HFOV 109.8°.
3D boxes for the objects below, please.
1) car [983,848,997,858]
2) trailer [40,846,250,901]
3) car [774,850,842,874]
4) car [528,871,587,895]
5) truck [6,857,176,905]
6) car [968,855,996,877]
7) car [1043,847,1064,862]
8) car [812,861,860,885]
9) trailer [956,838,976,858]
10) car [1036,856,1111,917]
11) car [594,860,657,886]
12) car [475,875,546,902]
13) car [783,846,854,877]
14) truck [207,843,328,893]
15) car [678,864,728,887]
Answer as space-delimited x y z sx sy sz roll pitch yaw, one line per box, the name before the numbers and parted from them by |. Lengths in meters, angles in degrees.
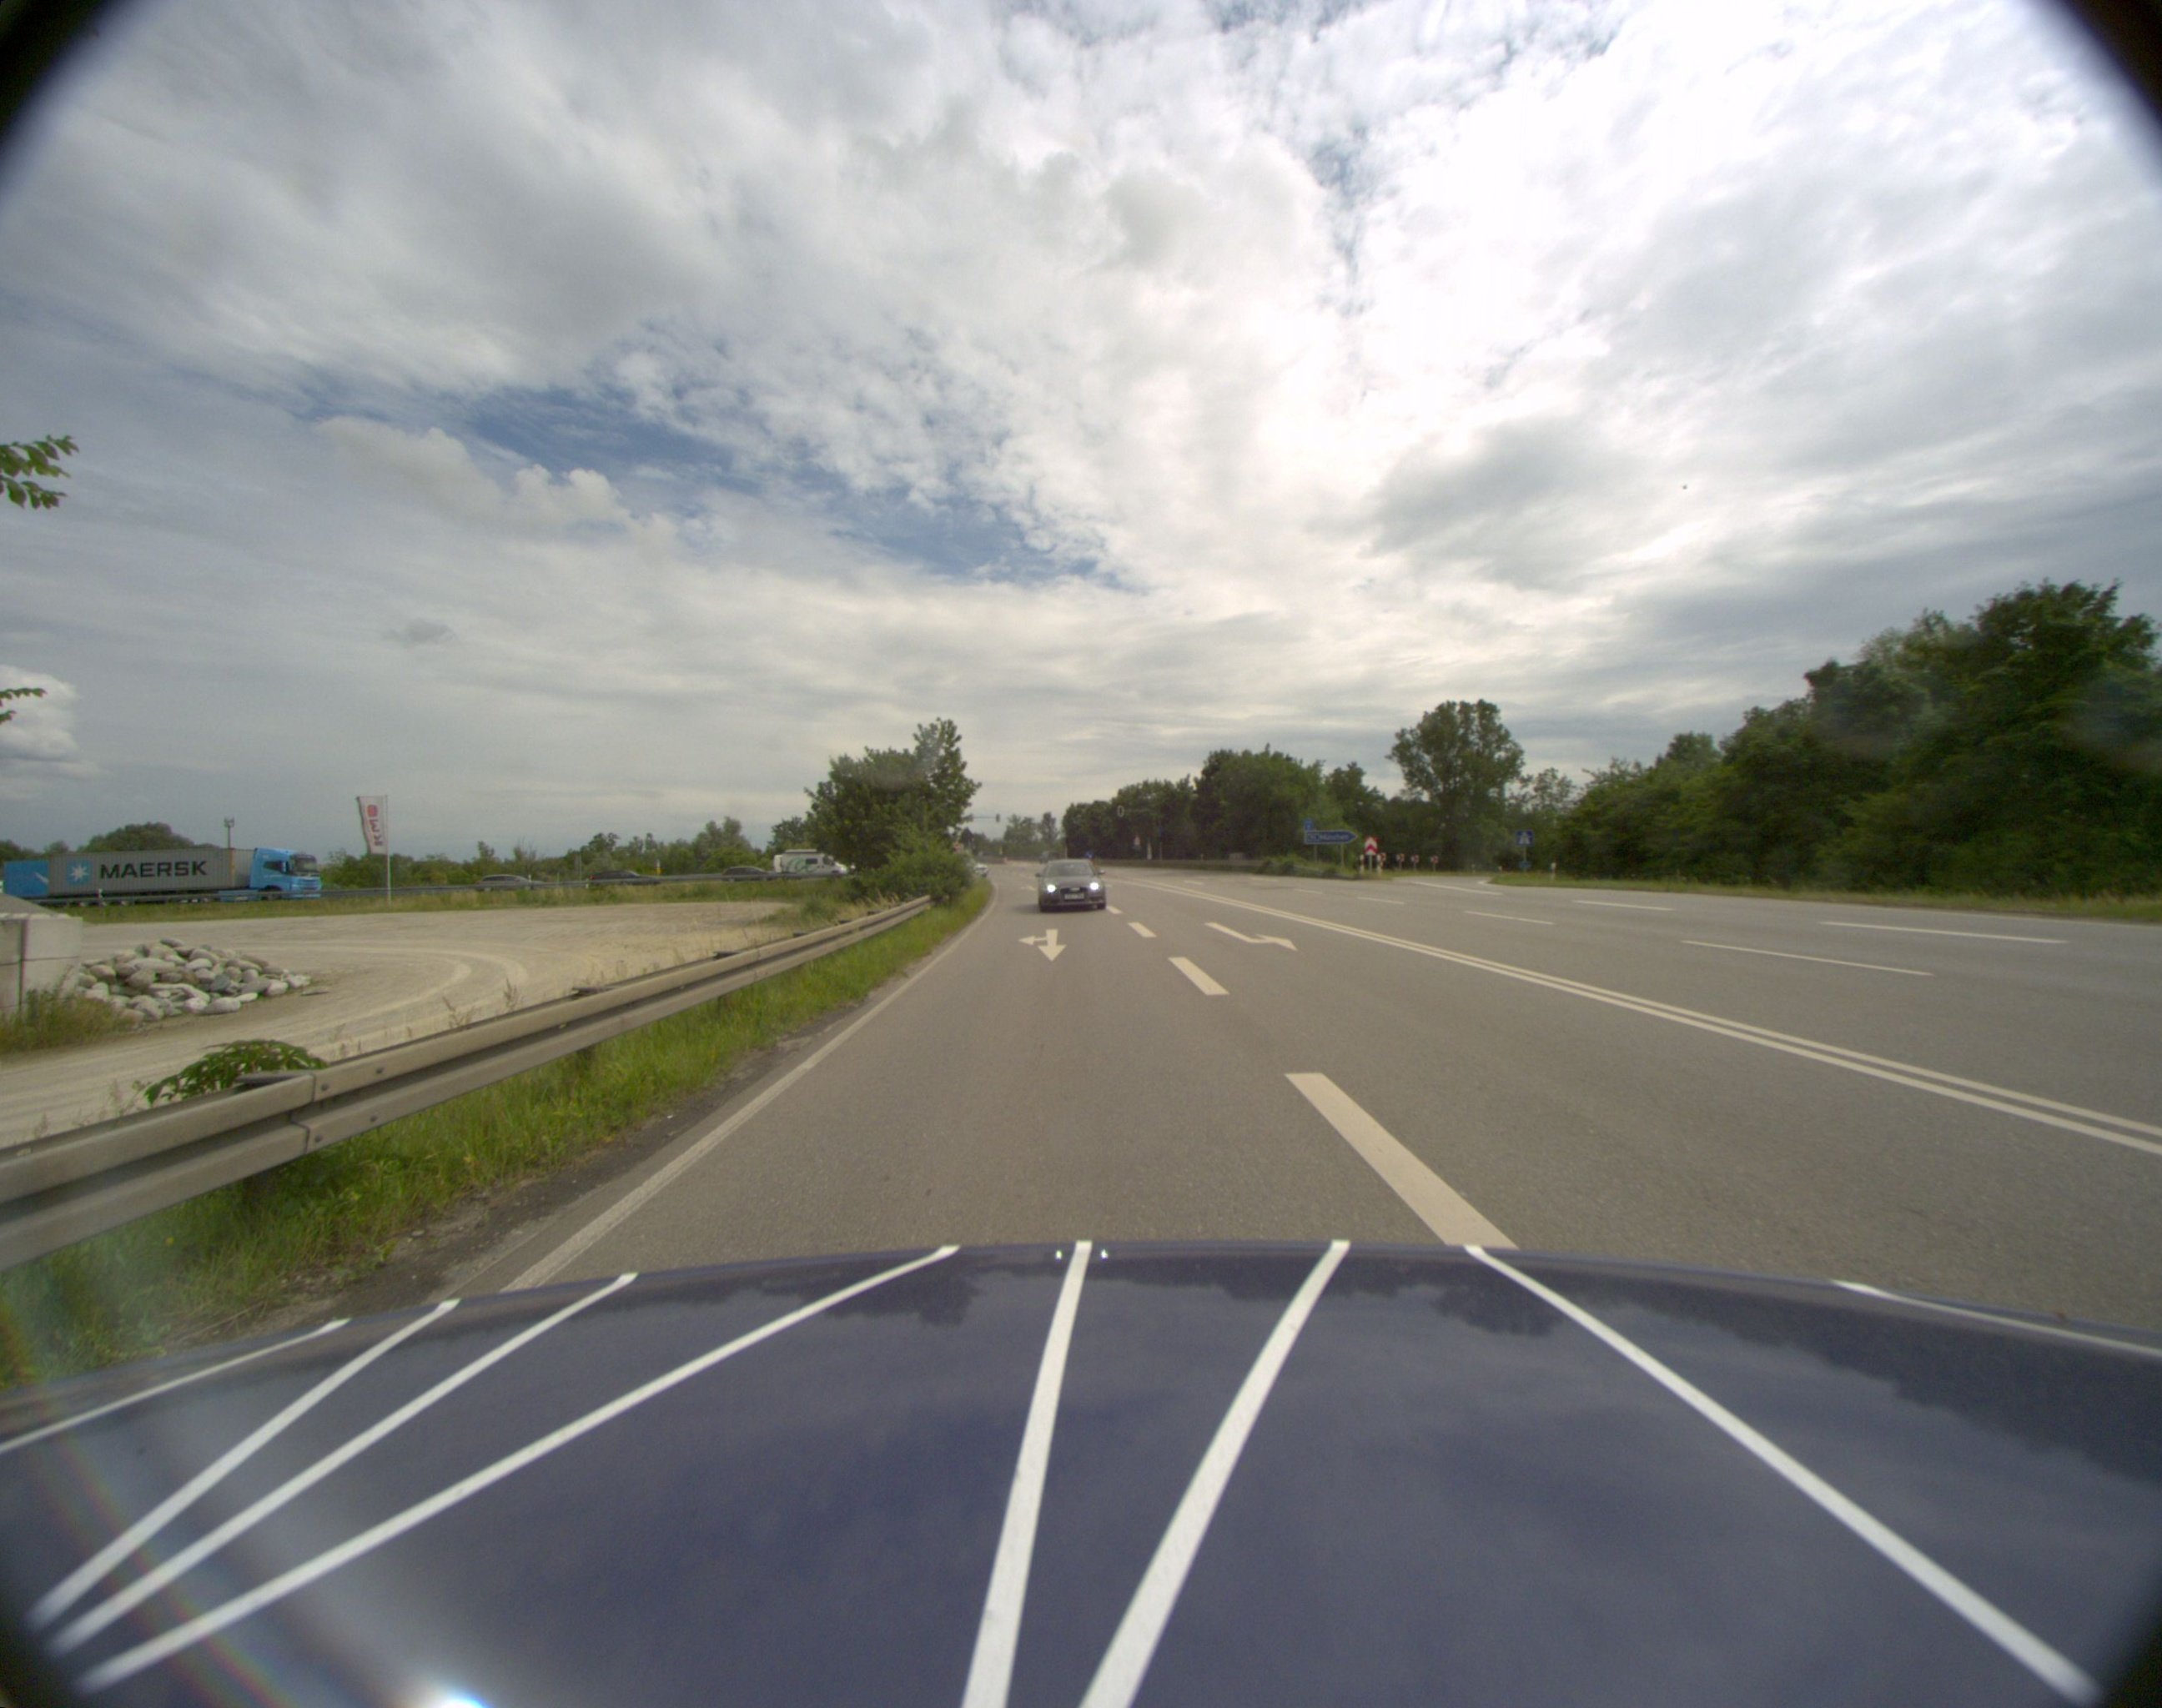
car | -19.073 -0.241 158.873 2.001 2.002 3.994 -3 1 -18
trailer | -67.199 1.387 54.715 11.227 3.290 2.391 -3 0 -4
car | -26.163 0.788 73.029 5.900 2.002 2.059 -2 0 -15
car | -48.949 2.688 71.133 4.002 2.002 1.929 -2 0 -15
truck | -77.659 2.103 59.659 11.744 3.036 2.393 -3 0 7
car | -7.919 0.952 60.668 2.022 1.603 4.277 -3 0 -9
car | -4.097 0.073 112.103 2.001 2.002 3.994 -3 1 -18
car | -22.766 1.767 70.706 4.001 2.002 1.998 -2 0 -12
trailer | -28.138 -1.421 185.995 3.498 4.488 10.931 -3 1 -15
car | -0.316 0.881 22.539 1.958 1.527 3.998 -3 1 -4
car | -37.178 1.512 62.104 4.002 2.001 1.929 -1 -1 -15
car | -45.001 2.696 60.047 4.002 2.001 1.929 -1 -1 -15
car | -22.771 0.636 66.133 5.420 2.552 2.457 -1 -1 -11
truck | -59.281 1.000 55.474 5.596 3.285 2.390 -3 0 -9
car | -36.918 2.112 74.374 4.002 2.002 1.929 -2 0 -15
